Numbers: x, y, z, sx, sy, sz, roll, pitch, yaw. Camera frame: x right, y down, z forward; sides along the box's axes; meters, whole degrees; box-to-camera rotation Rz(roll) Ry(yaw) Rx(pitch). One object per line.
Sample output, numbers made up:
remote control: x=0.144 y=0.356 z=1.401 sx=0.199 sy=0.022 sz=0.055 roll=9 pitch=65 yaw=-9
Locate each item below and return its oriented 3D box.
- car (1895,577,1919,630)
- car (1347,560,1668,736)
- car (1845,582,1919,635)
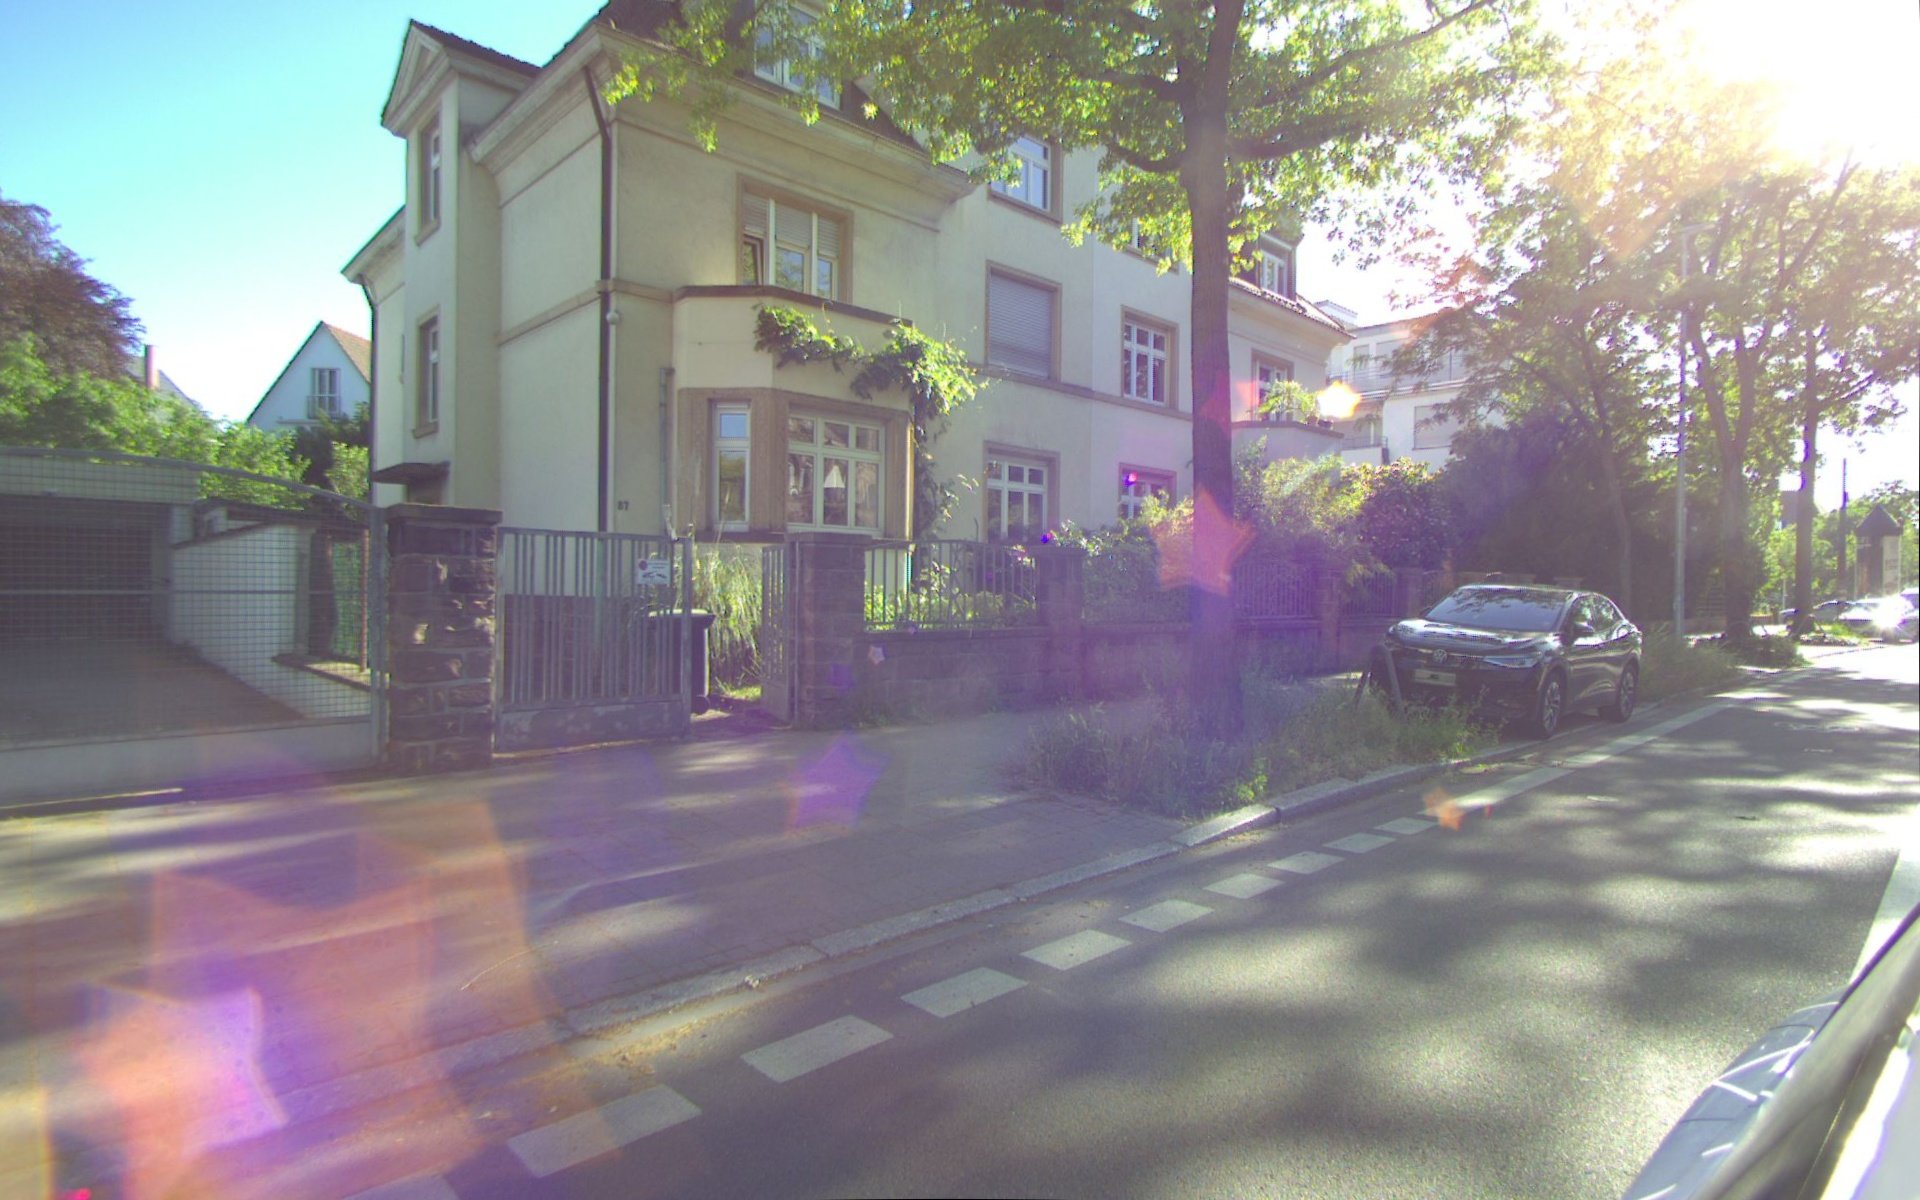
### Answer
car: x=36.770 y=0.132 z=37.873 sx=4.663 sy=1.919 sz=2.128 roll=0 pitch=1 yaw=-41
car: x=6.704 y=0.481 z=12.196 sx=4.304 sy=1.695 sz=1.997 roll=1 pitch=2 yaw=-42
car: x=31.514 y=0.254 z=34.096 sx=3.927 sy=1.660 sz=1.824 roll=0 pitch=1 yaw=-38
